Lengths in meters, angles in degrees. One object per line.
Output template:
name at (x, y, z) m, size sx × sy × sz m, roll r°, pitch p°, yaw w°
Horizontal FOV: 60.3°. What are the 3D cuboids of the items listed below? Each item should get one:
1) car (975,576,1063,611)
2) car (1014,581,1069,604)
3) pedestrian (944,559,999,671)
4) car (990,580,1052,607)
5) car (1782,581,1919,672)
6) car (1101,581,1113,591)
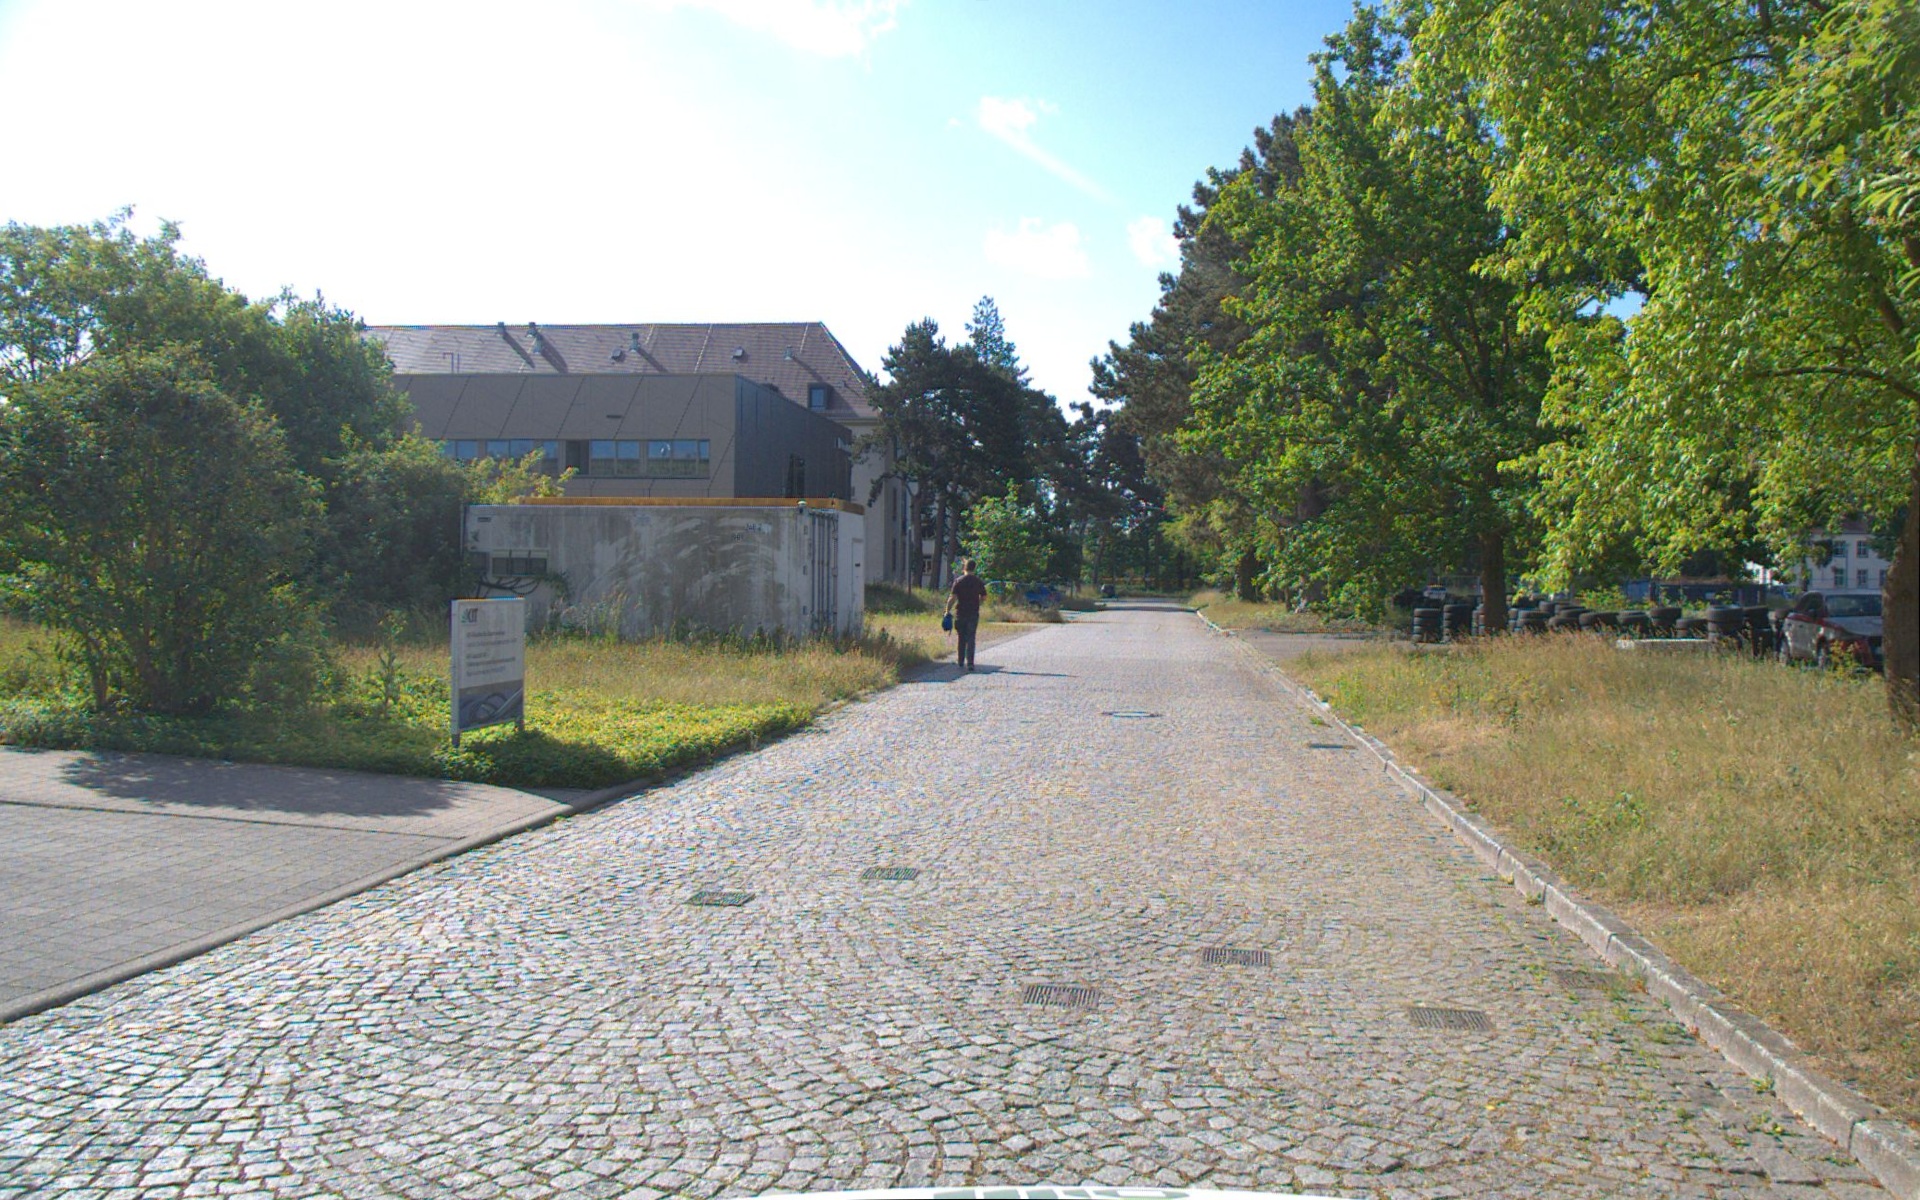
car at (2.577, -0.282, 71.748) m, size 3.752 × 1.466 × 1.584 m, roll 0°, pitch 1°, yaw 4°
car at (4.350, -0.409, 88.319) m, size 2.796 × 1.227 × 1.373 m, roll 0°, pitch 1°, yaw -2°
pedestrian at (0.207, 0.241, 27.827) m, size 0.778 × 1.811 × 1.069 m, roll 2°, pitch 0°, yaw 5°
car at (2.905, -0.307, 78.947) m, size 2.844 × 1.281 × 1.287 m, roll 0°, pitch 1°, yaw -2°
car at (15.291, 0.405, 28.123) m, size 1.508 × 1.431 × 3.581 m, roll 1°, pitch 1°, yaw 13°
car at (17.204, -1.616, 193.537) m, size 1.340 × 1.118 × 2.865 m, roll 1°, pitch 1°, yaw 4°
